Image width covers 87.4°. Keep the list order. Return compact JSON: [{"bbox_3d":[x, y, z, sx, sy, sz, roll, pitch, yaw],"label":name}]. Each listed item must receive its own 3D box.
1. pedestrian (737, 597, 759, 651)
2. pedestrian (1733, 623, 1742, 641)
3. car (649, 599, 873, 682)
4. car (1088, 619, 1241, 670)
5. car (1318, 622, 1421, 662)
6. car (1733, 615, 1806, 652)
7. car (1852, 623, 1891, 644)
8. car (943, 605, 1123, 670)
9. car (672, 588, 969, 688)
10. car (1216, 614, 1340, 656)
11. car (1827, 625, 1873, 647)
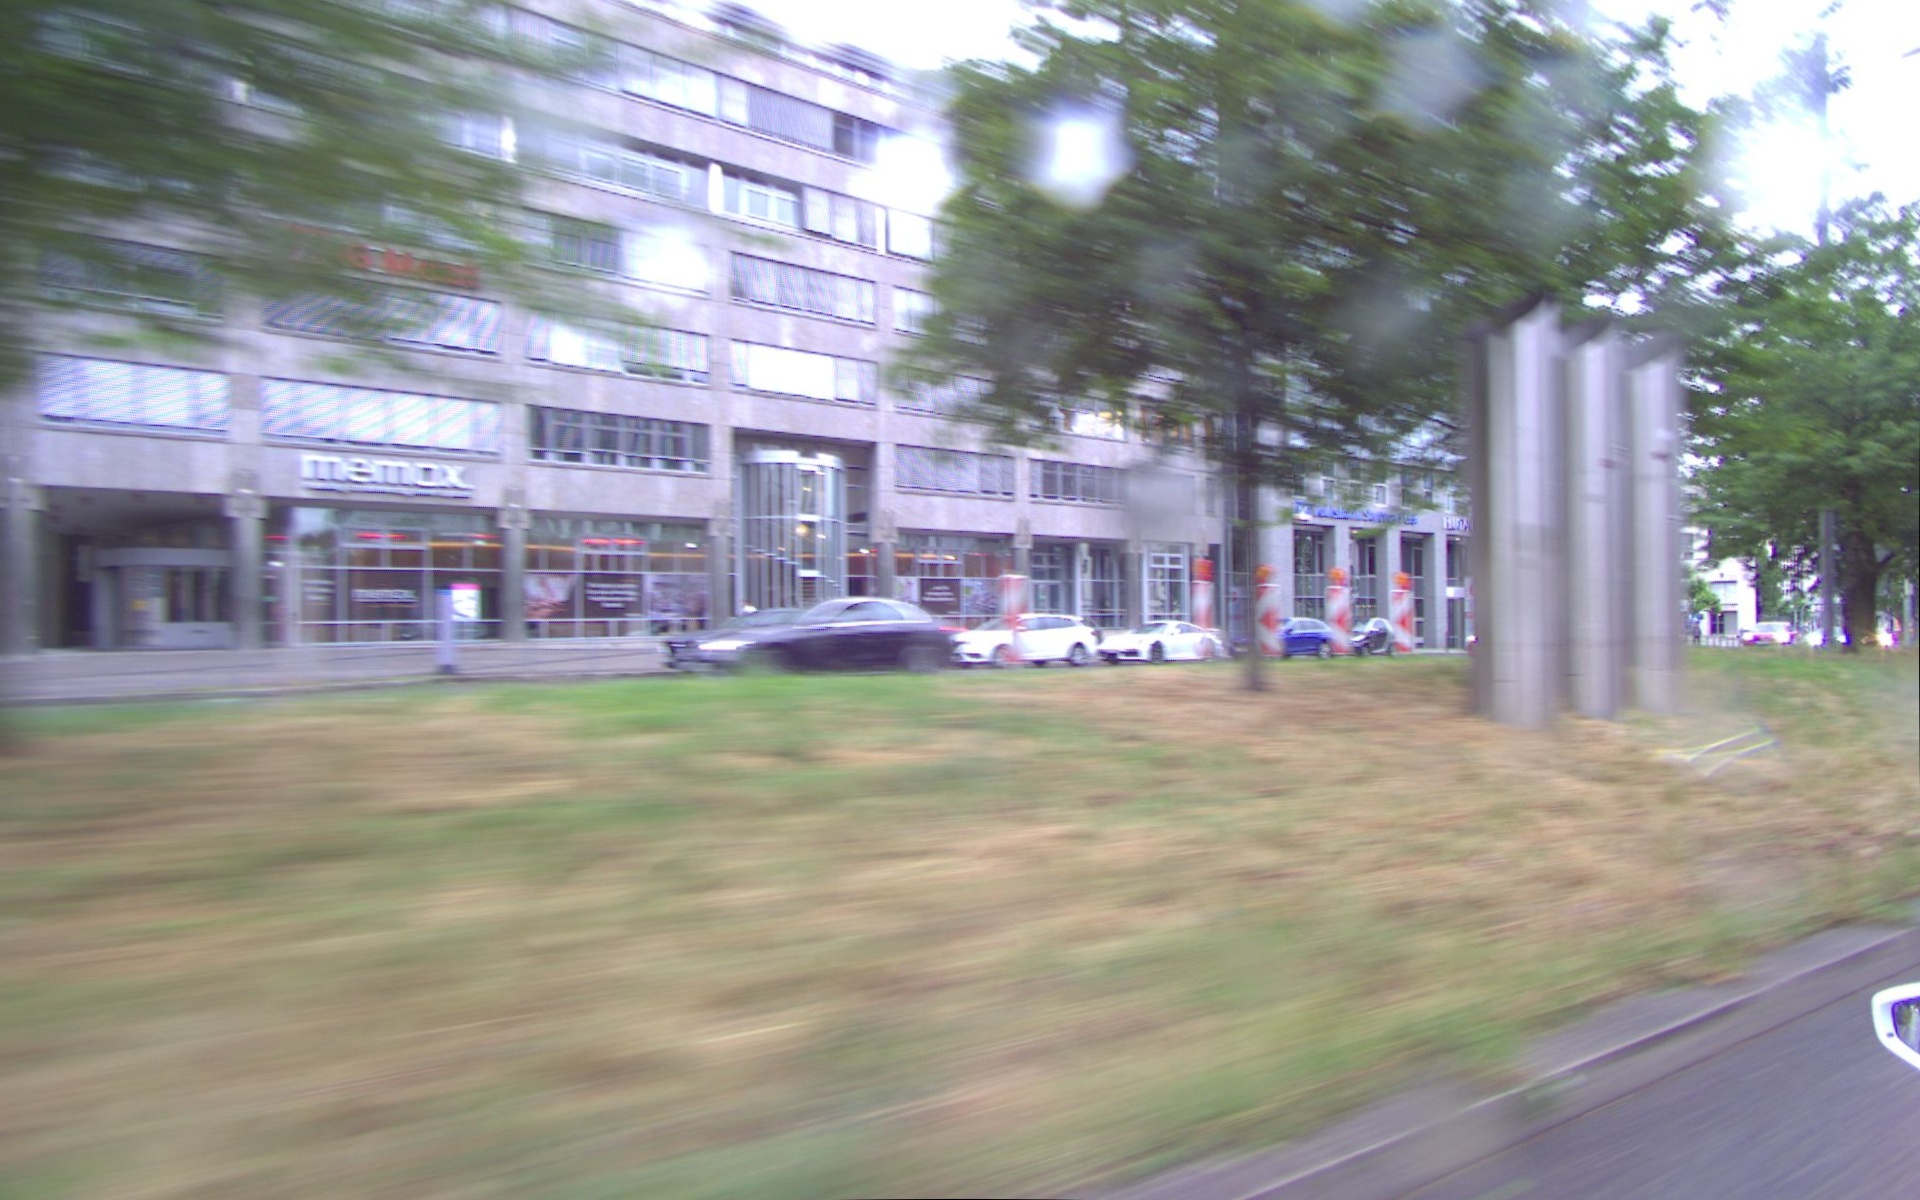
[{"bbox_3d":[-7.274,0.811,34.448,0.523,1.811,0.715,0,0,-31],"label":"pedestrian"},{"bbox_3d":[87.924,3.602,113.557,0.780,2.040,0.737,1,0,40],"label":"pedestrian"},{"bbox_3d":[-4.514,0.897,23.092,4.740,1.748,1.851,1,-2,-33],"label":"car"},{"bbox_3d":[6.237,1.314,30.400,4.633,1.420,1.766,1,-2,-33],"label":"car"},{"bbox_3d":[15.571,1.567,38.160,3.975,1.420,1.764,1,-2,-35],"label":"car"},{"bbox_3d":[39.748,1.643,49.309,3.964,1.723,1.930,1,-2,-38],"label":"car"},{"bbox_3d":[76.109,2.799,83.871,4.542,1.750,1.711,1,-2,-38],"label":"car"},{"bbox_3d":[2.058,1.006,27.529,4.859,1.643,1.766,1,-1,-33],"label":"car"},{"bbox_3d":[-2.222,0.596,16.533,4.520,1.448,1.850,1,-2,-35],"label":"car"},{"bbox_3d":[11.037,1.194,34.772,4.433,1.343,1.879,1,-2,-36],"label":"car"},{"bbox_3d":[64.756,2.598,73.074,4.156,1.495,1.806,1,-2,-38],"label":"car"}]
